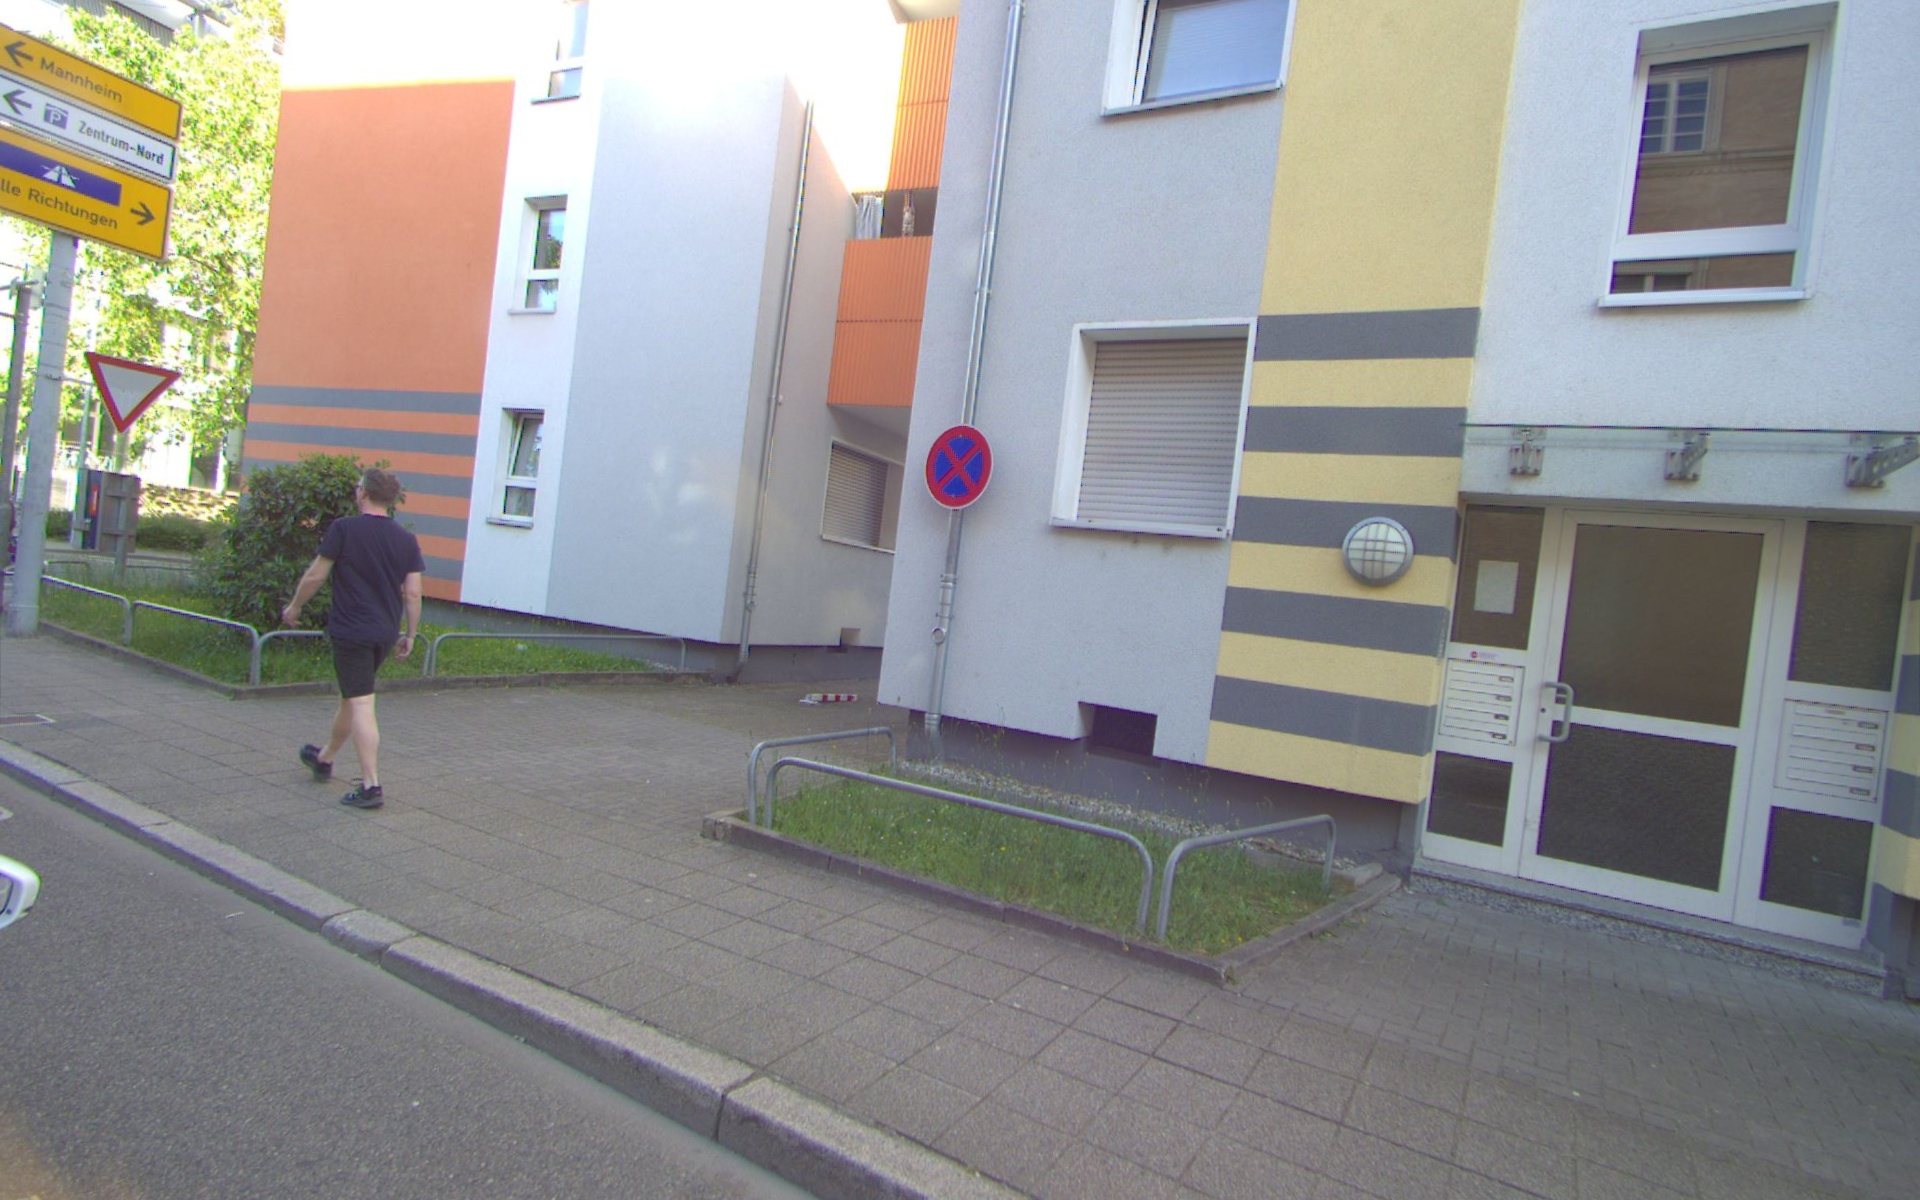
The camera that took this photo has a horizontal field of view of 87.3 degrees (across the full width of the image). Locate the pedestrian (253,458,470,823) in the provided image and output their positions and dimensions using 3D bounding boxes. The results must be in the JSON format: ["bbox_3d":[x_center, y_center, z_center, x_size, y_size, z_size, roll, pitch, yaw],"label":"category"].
[{"bbox_3d":[-3.294,0.183,5.527,0.901,1.813,0.643,8,4,35],"label":"pedestrian"}]

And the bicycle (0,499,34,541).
[{"bbox_3d":[-26.416,-2.253,27.284,1.883,1.062,0.463,7,1,-10],"label":"bicycle"}]

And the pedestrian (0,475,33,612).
[{"bbox_3d":[-11.773,-0.712,11.895,0.943,1.595,0.746,4,4,-22],"label":"pedestrian"}]
